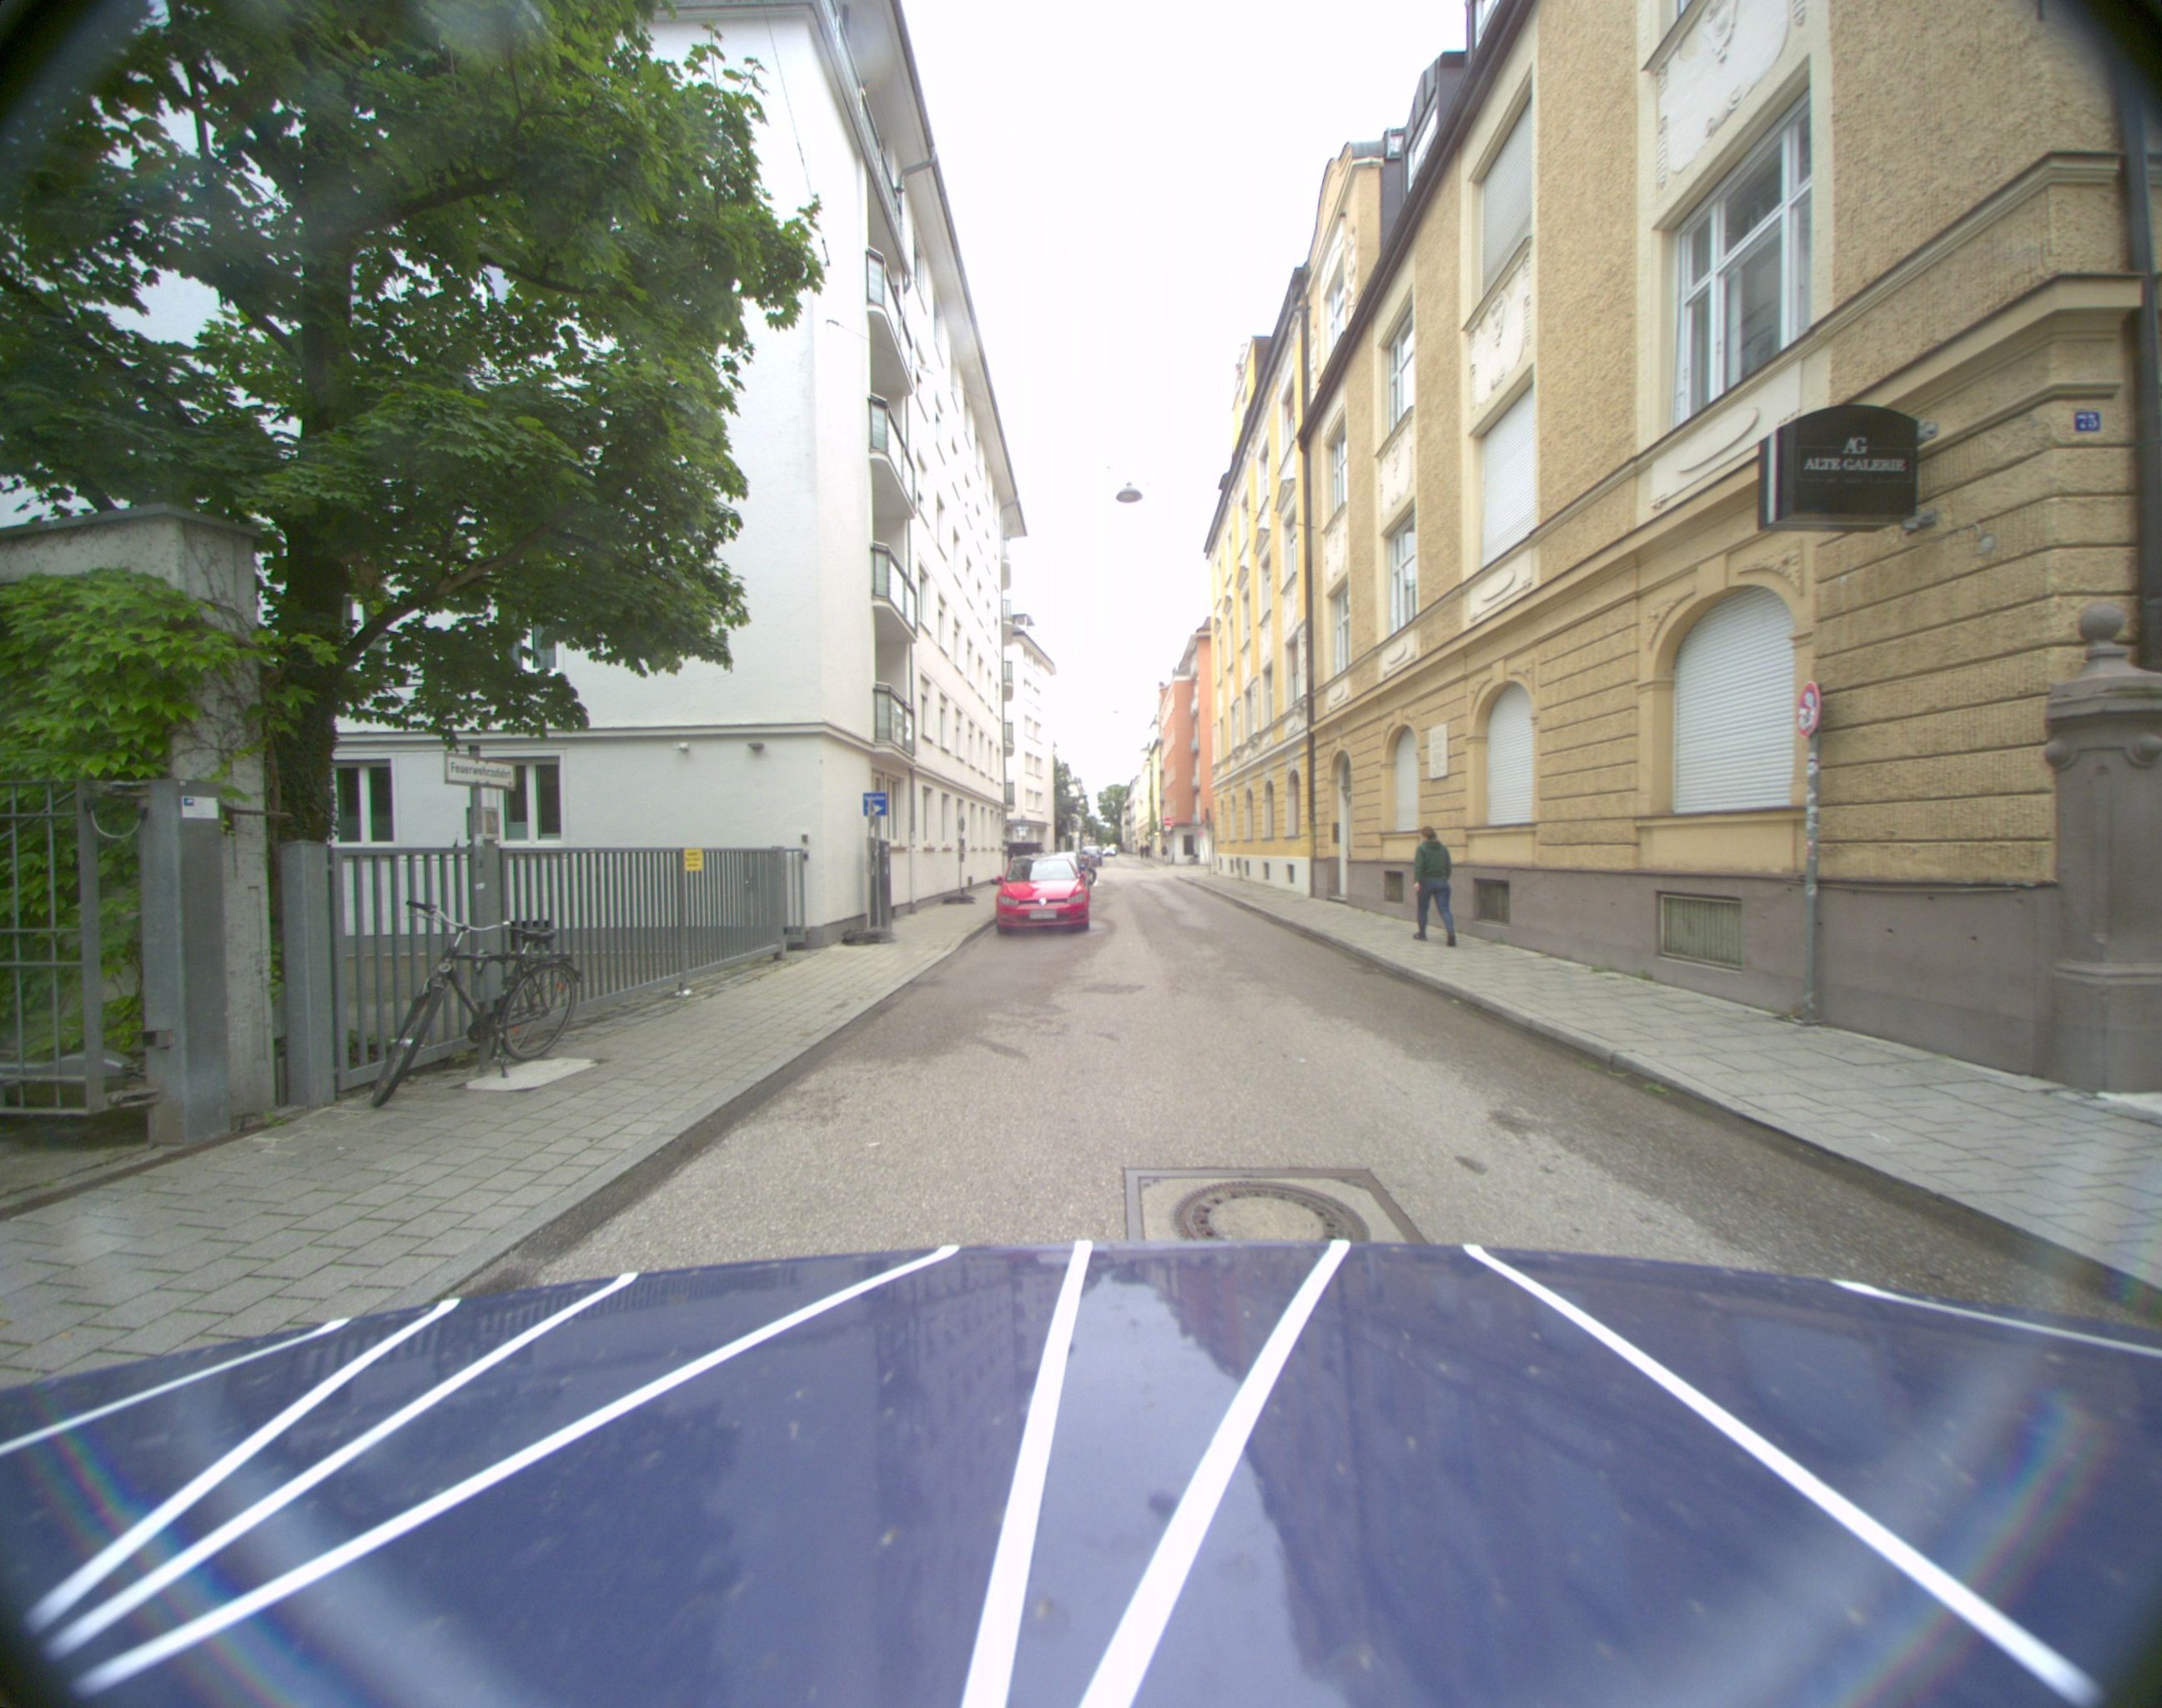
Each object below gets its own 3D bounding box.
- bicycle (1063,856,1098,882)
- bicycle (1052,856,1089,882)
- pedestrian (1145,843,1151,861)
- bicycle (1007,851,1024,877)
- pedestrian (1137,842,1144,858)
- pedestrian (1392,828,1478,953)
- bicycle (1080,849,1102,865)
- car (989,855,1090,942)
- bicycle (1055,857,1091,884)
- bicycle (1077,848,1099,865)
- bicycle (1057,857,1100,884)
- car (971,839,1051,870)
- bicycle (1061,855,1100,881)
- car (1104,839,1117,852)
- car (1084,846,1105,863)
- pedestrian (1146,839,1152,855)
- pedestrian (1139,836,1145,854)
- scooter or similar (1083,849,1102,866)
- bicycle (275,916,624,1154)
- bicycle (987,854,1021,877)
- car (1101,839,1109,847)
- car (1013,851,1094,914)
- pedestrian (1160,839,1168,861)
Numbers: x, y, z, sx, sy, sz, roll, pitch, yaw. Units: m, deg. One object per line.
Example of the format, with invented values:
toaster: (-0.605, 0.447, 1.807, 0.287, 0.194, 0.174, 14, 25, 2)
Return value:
bicycle: (-0.024, 0.648, 32.587, 1.441, 1.038, 0.360, 2, 2, 10)
bicycle: (-0.444, 0.648, 32.263, 1.520, 1.038, 0.360, 2, 2, 10)
pedestrian: (7.412, -0.267, 84.202, 0.635, 2.002, 0.788, 1, 1, 2)
bicycle: (-3.200, 0.478, 37.059, 0.399, 1.198, 1.502, 1, 2, -23)
pedestrian: (6.595, -0.430, 84.005, 0.726, 1.783, 0.830, 0, 1, 2)
pedestrian: (4.981, 0.493, 10.745, 0.714, 1.656, 0.929, -4, 1, 2)
bicycle: (0.721, 0.210, 55.774, 1.607, 1.207, 0.529, 0, 1, 4)
car: (-0.888, 0.804, 15.847, 1.766, 1.438, 4.296, -2, 1, -4)
bicycle: (-0.331, 0.667, 31.346, 1.438, 1.038, 0.330, 2, 2, 10)
bicycle: (0.507, 0.200, 56.353, 1.607, 1.207, 0.529, 0, 1, 4)
bicycle: (-0.098, 0.676, 30.872, 1.706, 1.038, 0.360, 1, 2, 2)
car: (-4.436, 0.036, 48.533, 4.675, 1.880, 1.935, 0, 1, 10)
bicycle: (-0.022, 0.636, 34.258, 1.699, 1.154, 0.378, -1, 1, 1)
car: (4.388, -1.301, 114.100, 1.929, 1.795, 4.444, -1, 1, 1)
car: (1.123, 0.019, 62.160, 1.653, 1.391, 4.000, 0, 1, 2)
pedestrian: (7.531, -0.809, 84.079, 0.699, 1.783, 0.763, 0, 1, 3)
pedestrian: (6.733, -1.018, 84.141, 0.635, 2.002, 0.788, 1, 1, 2)
scooter or similar: (0.832, 0.237, 54.344, 1.340, 1.207, 0.344, 0, 1, 4)
bicycle: (-3.958, 1.047, 5.014, 0.709, 1.191, 1.834, -1, -2, 3)
bicycle: (-3.580, 0.541, 35.221, 1.502, 1.038, 0.398, 1, 2, -17)
car: (6.538, -2.902, 204.470, 1.998, 2.002, 4.646, -1, 1, 1)
car: (-0.657, 0.707, 21.123, 1.799, 1.430, 4.383, -2, 1, 3)
pedestrian: (6.354, -0.302, 58.122, 0.613, 1.684, 0.566, 0, 1, 1)
